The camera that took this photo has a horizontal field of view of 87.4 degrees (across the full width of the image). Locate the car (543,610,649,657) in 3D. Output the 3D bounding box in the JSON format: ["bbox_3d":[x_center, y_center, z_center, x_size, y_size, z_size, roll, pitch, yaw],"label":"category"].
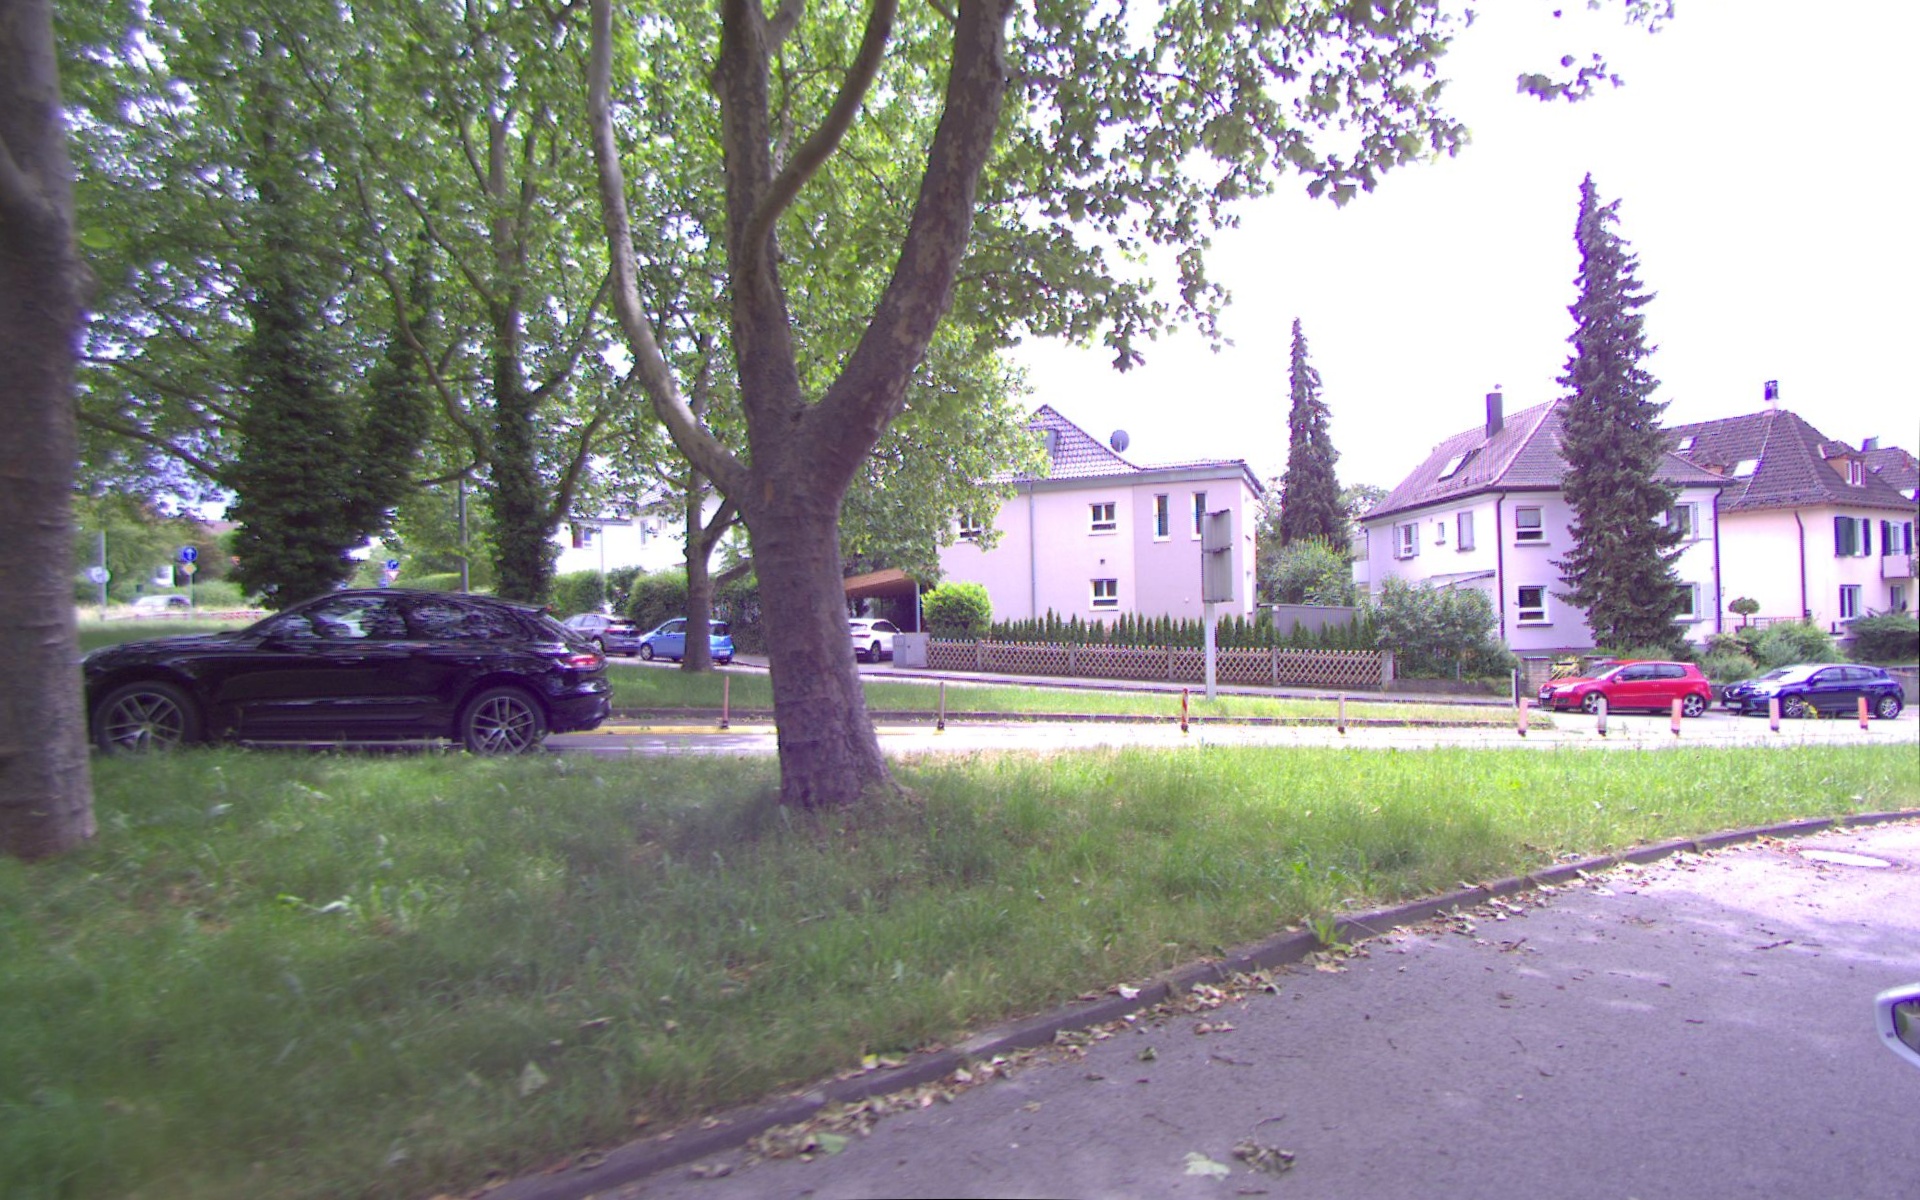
[{"bbox_3d":[-13.952,1.236,38.436,3.925,1.534,1.658,2,2,29],"label":"car"}]

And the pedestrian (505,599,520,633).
[{"bbox_3d":[-21.065,0.755,47.282,0.565,1.585,0.638,-1,0,-30],"label":"pedestrian"}]

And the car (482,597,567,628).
[{"bbox_3d":[-22.894,0.689,52.893,3.796,1.537,1.590,2,-1,-42],"label":"car"}]

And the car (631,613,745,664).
[{"bbox_3d":[-9.801,1.348,36.159,3.708,1.576,1.781,2,2,26],"label":"car"}]

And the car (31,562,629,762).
[{"bbox_3d":[-5.659,0.632,9.779,4.542,1.612,1.755,3,-1,-19],"label":"car"}]

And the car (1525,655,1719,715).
[{"bbox_3d":[18.184,2.318,27.733,4.193,1.493,1.733,1,-2,3],"label":"car"}]

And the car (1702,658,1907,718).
[{"bbox_3d":[23.052,2.389,27.509,4.231,1.493,1.732,1,-2,-2],"label":"car"}]

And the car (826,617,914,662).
[{"bbox_3d":[-3.389,1.471,38.346,1.841,1.568,3.375,-2,-1,27],"label":"car"}]
